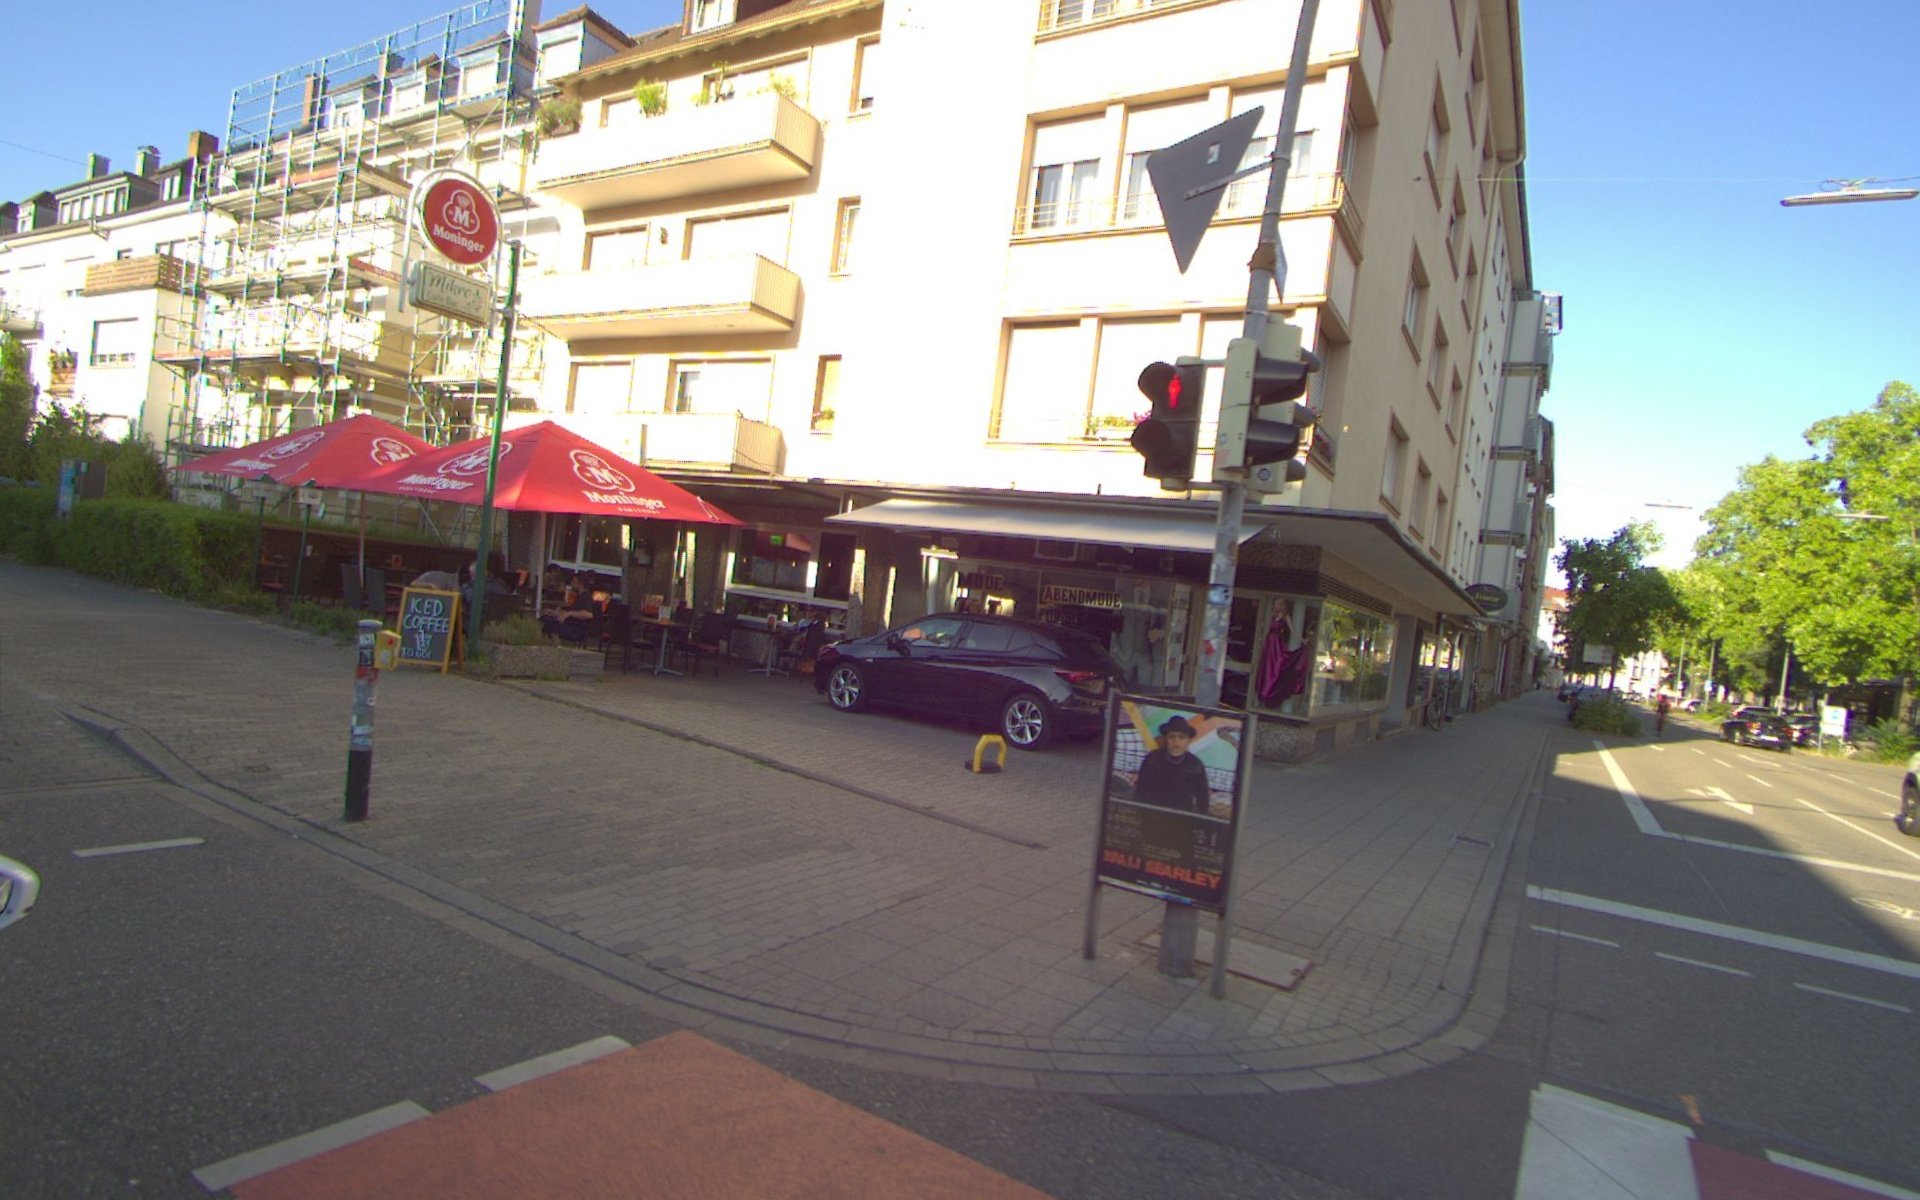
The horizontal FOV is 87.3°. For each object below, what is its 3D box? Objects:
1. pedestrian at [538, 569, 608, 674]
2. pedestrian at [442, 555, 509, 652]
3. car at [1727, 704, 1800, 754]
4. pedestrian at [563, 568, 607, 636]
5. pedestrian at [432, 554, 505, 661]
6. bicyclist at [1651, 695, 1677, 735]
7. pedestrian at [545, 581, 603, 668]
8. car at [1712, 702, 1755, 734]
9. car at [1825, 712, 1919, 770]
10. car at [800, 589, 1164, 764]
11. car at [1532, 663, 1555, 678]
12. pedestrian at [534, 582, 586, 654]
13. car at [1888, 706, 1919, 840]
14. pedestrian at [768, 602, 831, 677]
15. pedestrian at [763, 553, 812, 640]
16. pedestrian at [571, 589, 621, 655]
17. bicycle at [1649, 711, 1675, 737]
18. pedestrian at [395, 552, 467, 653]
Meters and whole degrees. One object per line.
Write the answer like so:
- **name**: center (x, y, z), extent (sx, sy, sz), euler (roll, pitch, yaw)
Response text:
- **pedestrian**: center (-5.103, 0.287, 13.261), extent (0.531, 1.298, 0.524), euler (7, 0, 34)
- **pedestrian**: center (-6.231, 0.047, 12.945), extent (0.517, 1.164, 0.486), euler (7, 0, 36)
- **car**: center (33.854, 5.384, 42.481), extent (1.922, 1.681, 4.343), euler (7, 0, 35)
- **pedestrian**: center (-6.987, 0.040, 18.769), extent (0.407, 1.203, 0.524), euler (5, -1, 38)
- **pedestrian**: center (-5.762, 0.086, 11.794), extent (0.622, 1.164, 0.412), euler (7, 0, 36)
- **bicyclist**: center (29.354, 4.786, 41.948), extent (0.733, 1.522, 0.879), euler (7, 1, 37)
- **pedestrian**: center (-5.489, 0.355, 14.302), extent (0.407, 1.164, 0.524), euler (7, 0, 38)
- **car**: center (49.377, 7.536, 64.225), extent (1.924, 1.681, 4.339), euler (7, 0, 38)
- **car**: center (38.013, 5.827, 42.028), extent (1.920, 1.860, 4.347), euler (7, 0, 31)
- **car**: center (0.218, 0.877, 12.726), extent (4.134, 1.502, 1.830), euler (7, 0, 32)
- **car**: center (78.222, 9.458, 134.830), extent (1.924, 1.681, 4.339), euler (7, 0, 38)
- **pedestrian**: center (-6.310, 0.288, 15.878), extent (0.407, 1.062, 0.524), euler (7, 0, 38)
- **car**: center (14.047, 2.493, 13.053), extent (1.920, 1.860, 4.346), euler (7, 0, 31)
- **pedestrian**: center (-2.731, 0.665, 17.075), extent (0.709, 1.164, 0.609), euler (7, 0, 34)
- **pedestrian**: center (-3.775, -0.073, 22.004), extent (0.673, 1.797, 0.524), euler (7, 0, 32)
- **pedestrian**: center (-5.926, 0.364, 16.389), extent (0.407, 1.003, 0.524), euler (7, 0, 38)
- **bicycle**: center (29.253, 5.161, 41.885), extent (0.733, 0.932, 2.391), euler (7, 0, 37)
- **pedestrian**: center (-6.529, 0.036, 12.414), extent (0.517, 1.164, 0.493), euler (7, 0, 36)
